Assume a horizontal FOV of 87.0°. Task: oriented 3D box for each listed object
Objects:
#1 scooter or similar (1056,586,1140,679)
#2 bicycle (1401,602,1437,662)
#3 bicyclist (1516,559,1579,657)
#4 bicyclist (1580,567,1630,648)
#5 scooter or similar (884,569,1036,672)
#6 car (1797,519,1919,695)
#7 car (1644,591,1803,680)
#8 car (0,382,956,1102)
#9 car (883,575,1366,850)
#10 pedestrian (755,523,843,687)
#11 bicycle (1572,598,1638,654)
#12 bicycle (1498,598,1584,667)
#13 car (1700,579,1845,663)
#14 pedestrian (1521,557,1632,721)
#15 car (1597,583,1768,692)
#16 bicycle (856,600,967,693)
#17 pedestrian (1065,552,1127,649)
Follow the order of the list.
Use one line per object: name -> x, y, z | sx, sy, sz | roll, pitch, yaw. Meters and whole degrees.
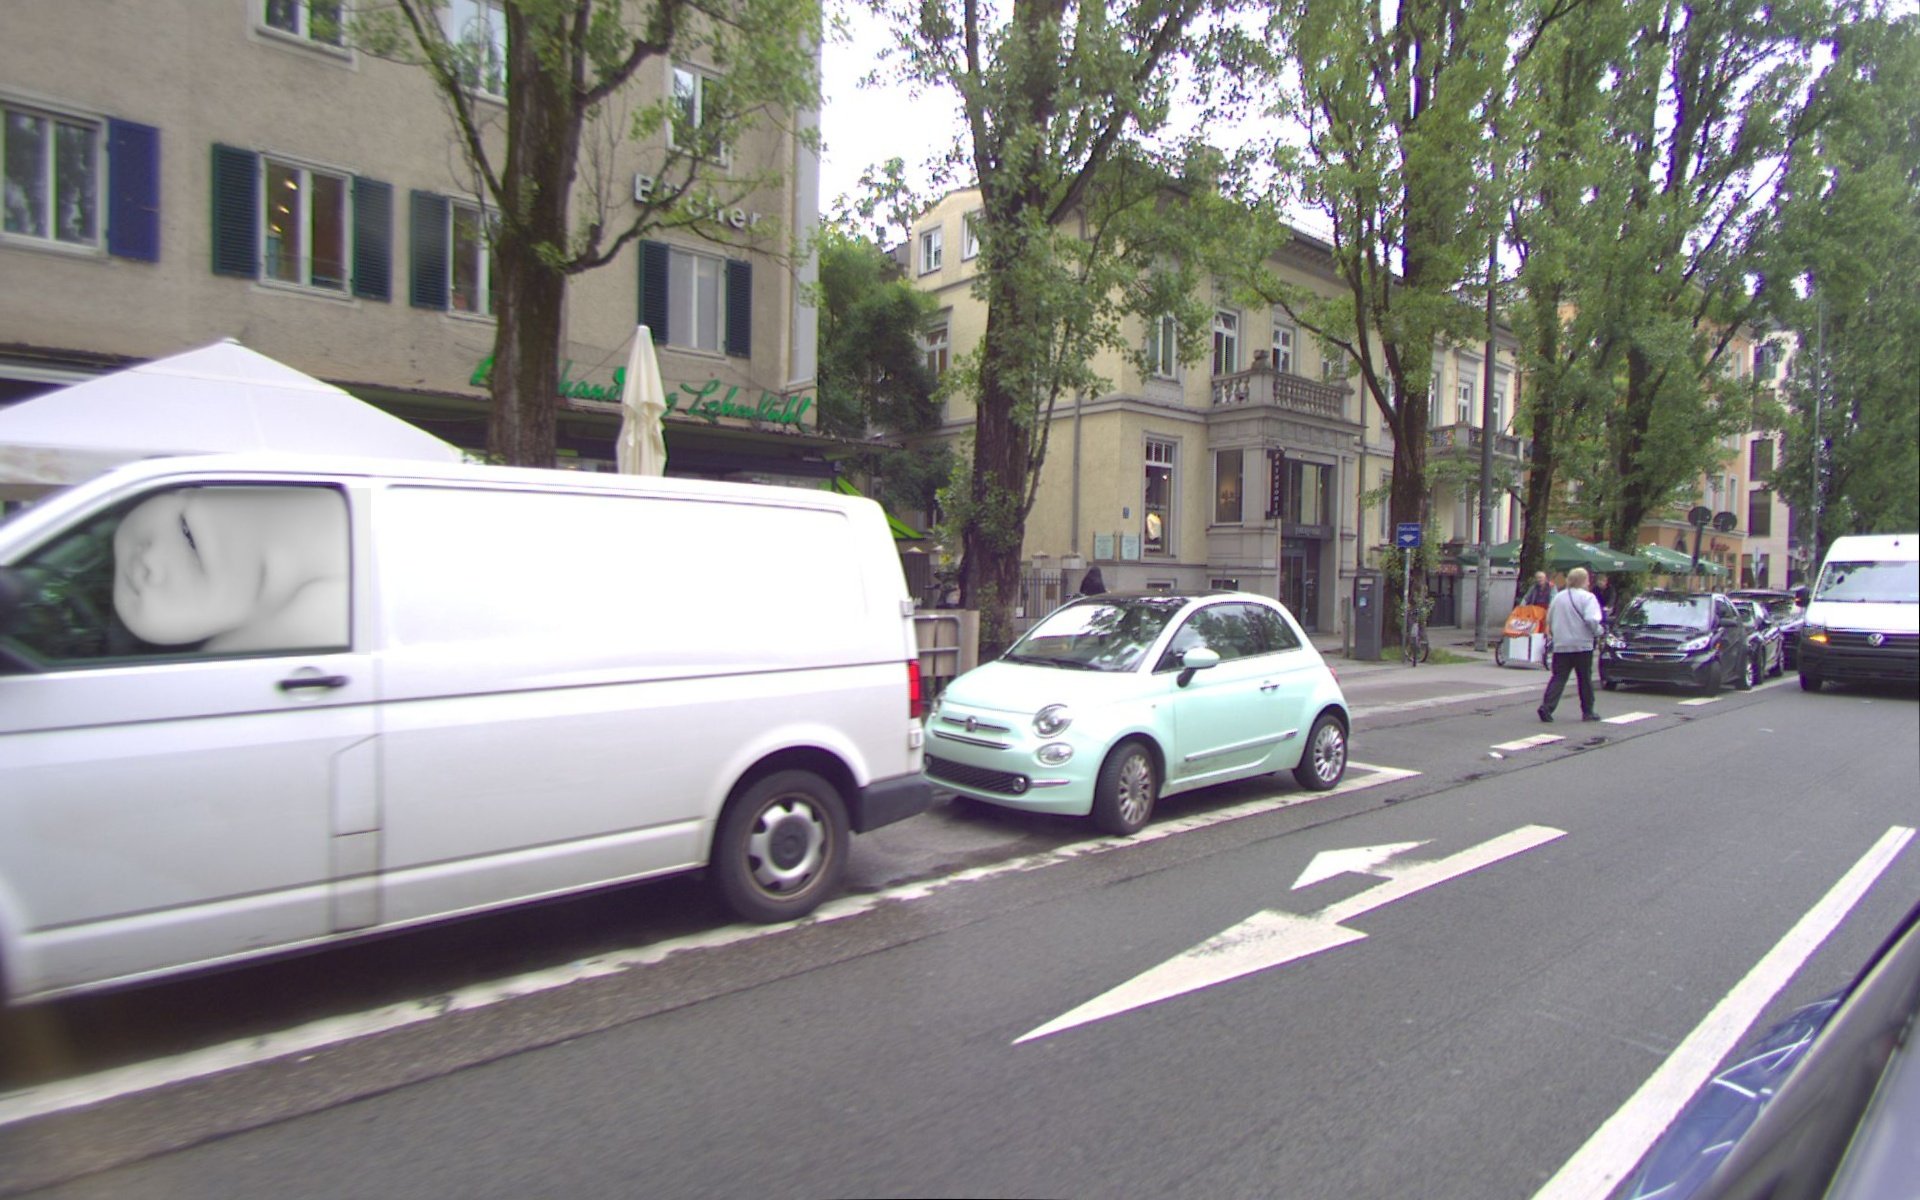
scooter or similar -> 1.952, 0.433, 14.215 | 1.420, 1.230, 0.327 | -1, 4, -44
bicycle -> 8.417, 0.561, 18.580 | 0.504, 1.006, 1.616 | 1, 2, 22
bicyclist -> 11.086, 0.129, 19.113 | 0.829, 1.779, 0.657 | 3, 2, 44
bicyclist -> 14.005, 0.145, 21.975 | 0.736, 1.708, 0.740 | 0, 1, -43
scooter or similar -> 0.047, 0.289, 14.936 | 2.454, 1.393, 0.637 | 1, 2, -44
car -> 16.036, 0.084, 16.891 | 6.611, 2.524, 2.067 | 0, 1, -40
car -> 13.983, 0.558, 18.435 | 4.273, 1.411, 1.711 | -1, 1, -45
car -> -2.364, 0.364, 4.172 | 4.647, 1.970, 1.791 | 0, 1, -41
car -> 1.302, 0.588, 7.272 | 3.460, 1.511, 1.544 | -1, 1, -40
pedestrian -> -1.960, 0.044, 12.266 | 0.732, 1.888, 0.961 | 0, 1, -30
bicycle -> 14.061, 0.531, 22.044 | 2.067, 1.134, 0.736 | 0, 2, -44
bicycle -> 10.840, 0.571, 18.861 | 0.885, 1.133, 2.069 | 4, 3, 43
car -> 17.775, 0.378, 22.071 | 4.371, 1.658, 1.805 | -1, 1, -42
pedestrian -> 7.105, 0.417, 11.670 | 0.855, 1.795, 0.829 | 0, 1, -39
car -> 11.278, 0.512, 15.761 | 2.682, 1.537, 1.595 | 0, 0, -41
bicycle -> -0.559, 0.526, 12.042 | 1.431, 1.008, 0.349 | -1, 4, -44
pedestrian -> 2.372, 0.000, 17.654 | 0.856, 1.625, 0.617 | 0, 3, -43
